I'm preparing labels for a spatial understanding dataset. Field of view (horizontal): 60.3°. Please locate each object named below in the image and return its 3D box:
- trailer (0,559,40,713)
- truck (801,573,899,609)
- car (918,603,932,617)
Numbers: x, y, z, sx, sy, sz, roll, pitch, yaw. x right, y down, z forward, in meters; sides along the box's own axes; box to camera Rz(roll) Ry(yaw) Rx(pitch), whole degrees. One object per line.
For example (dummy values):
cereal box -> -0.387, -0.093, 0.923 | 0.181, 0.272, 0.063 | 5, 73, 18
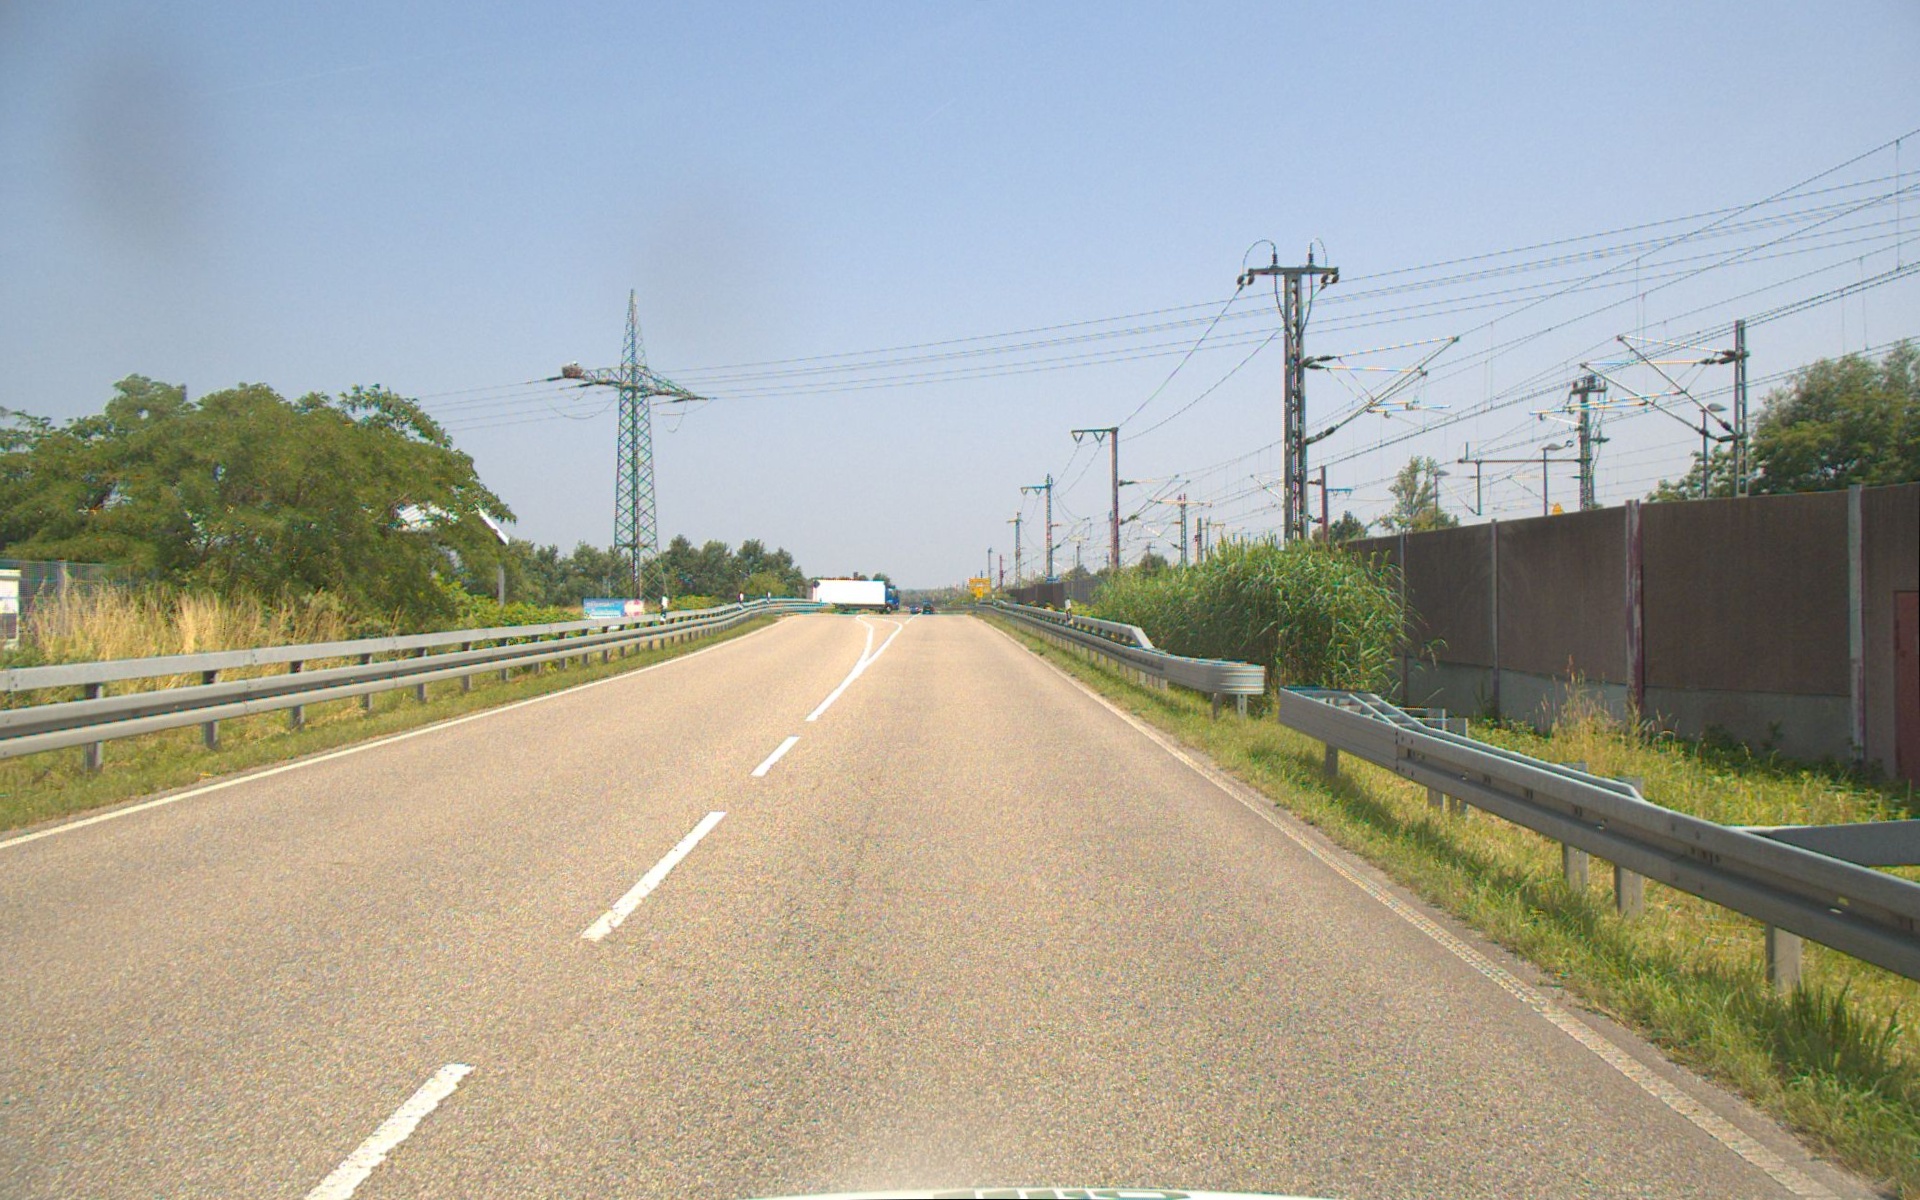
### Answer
trailer -> -13.641, 0.397, 18.416 | 5.411, 1.751, 2.485 | 0, 0, 2
truck -> -11.871, -0.959, 178.871 | 10.268, 3.695, 2.826 | 1, 0, -23
car -> -5.434, 1.550, 256.014 | 1.954, 2.049, 3.996 | 0, 0, -5
